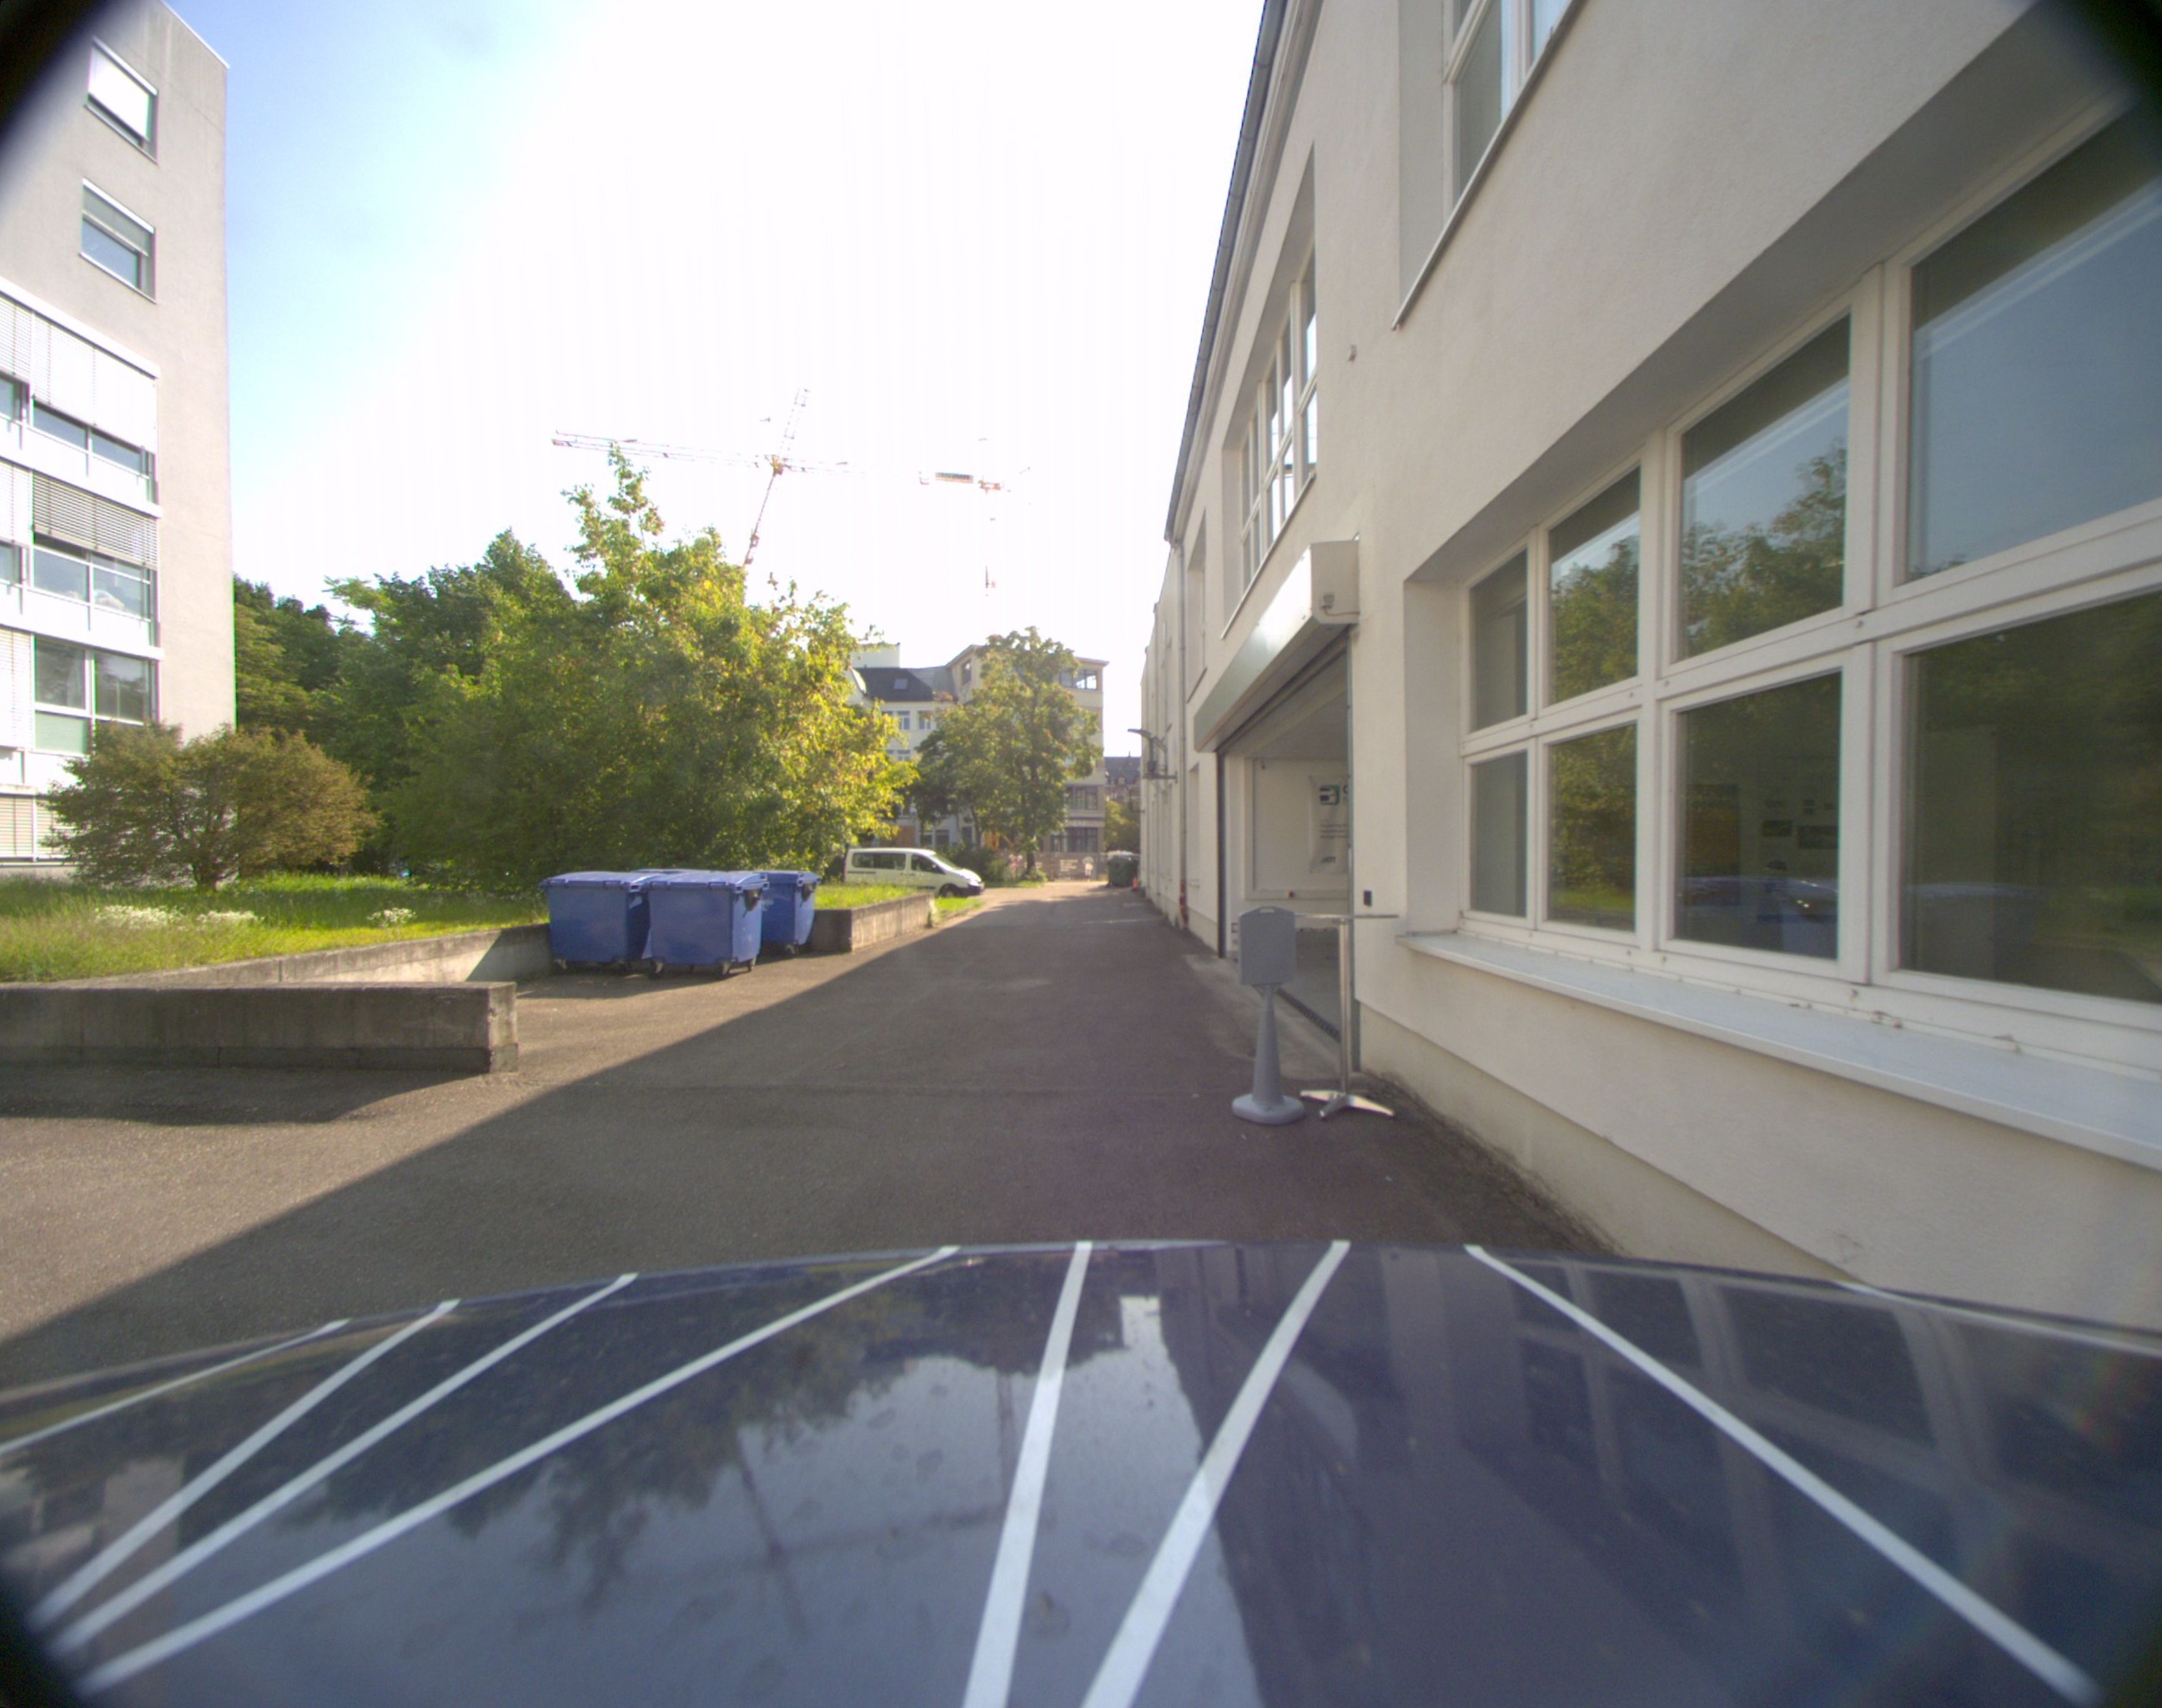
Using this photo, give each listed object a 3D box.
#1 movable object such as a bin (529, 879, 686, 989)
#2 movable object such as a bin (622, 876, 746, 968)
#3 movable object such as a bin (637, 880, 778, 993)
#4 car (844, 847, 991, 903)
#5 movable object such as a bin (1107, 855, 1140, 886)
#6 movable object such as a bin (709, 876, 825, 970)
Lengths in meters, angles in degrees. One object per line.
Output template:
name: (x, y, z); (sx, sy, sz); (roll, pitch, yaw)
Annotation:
movable object such as a bin: (-6.252, 1.024, 10.131); (1.257, 1.320, 1.275); (0, 0, 3)
movable object such as a bin: (-6.100, 1.018, 11.776); (1.199, 1.320, 1.275); (0, 0, 3)
movable object such as a bin: (-4.880, 1.048, 10.048); (1.213, 1.343, 1.275); (0, 0, 1)
car: (-5.764, 0.718, 27.128); (4.788, 1.920, 1.909); (0, 0, 4)
movable object such as a bin: (2.039, 0.789, 36.318); (1.524, 1.457, 1.275); (0, 0, 3)
movable object such as a bin: (-4.757, 1.015, 11.626); (1.199, 1.320, 1.275); (0, 0, 3)
